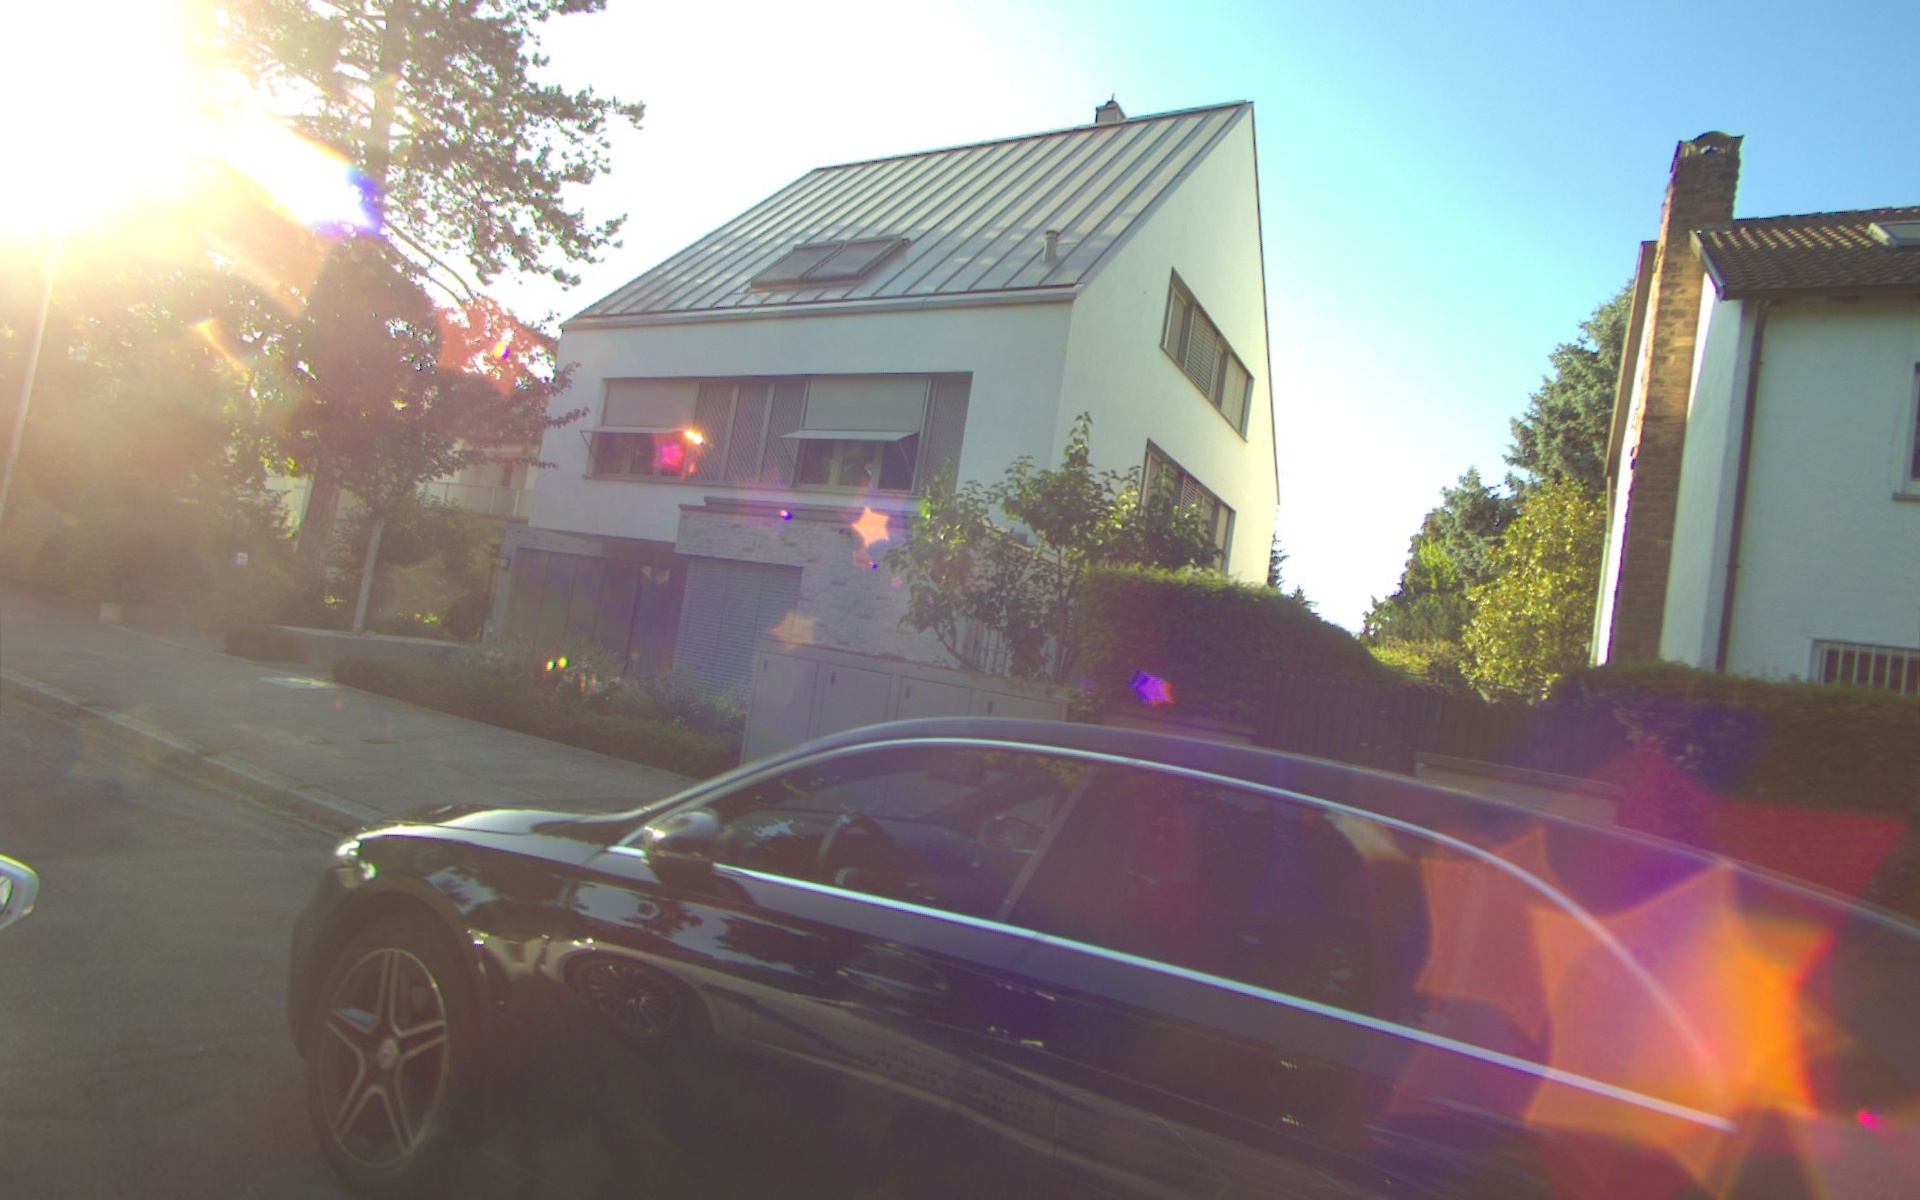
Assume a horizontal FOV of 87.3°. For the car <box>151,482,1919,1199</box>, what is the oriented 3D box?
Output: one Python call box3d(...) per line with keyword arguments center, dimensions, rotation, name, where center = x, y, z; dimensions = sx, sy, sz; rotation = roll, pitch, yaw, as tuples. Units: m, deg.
box3d(center=(0.032, 0.752, 2.698), dimensions=(4.214, 1.491, 1.757), rotation=(7, -6, 29), name="car")
